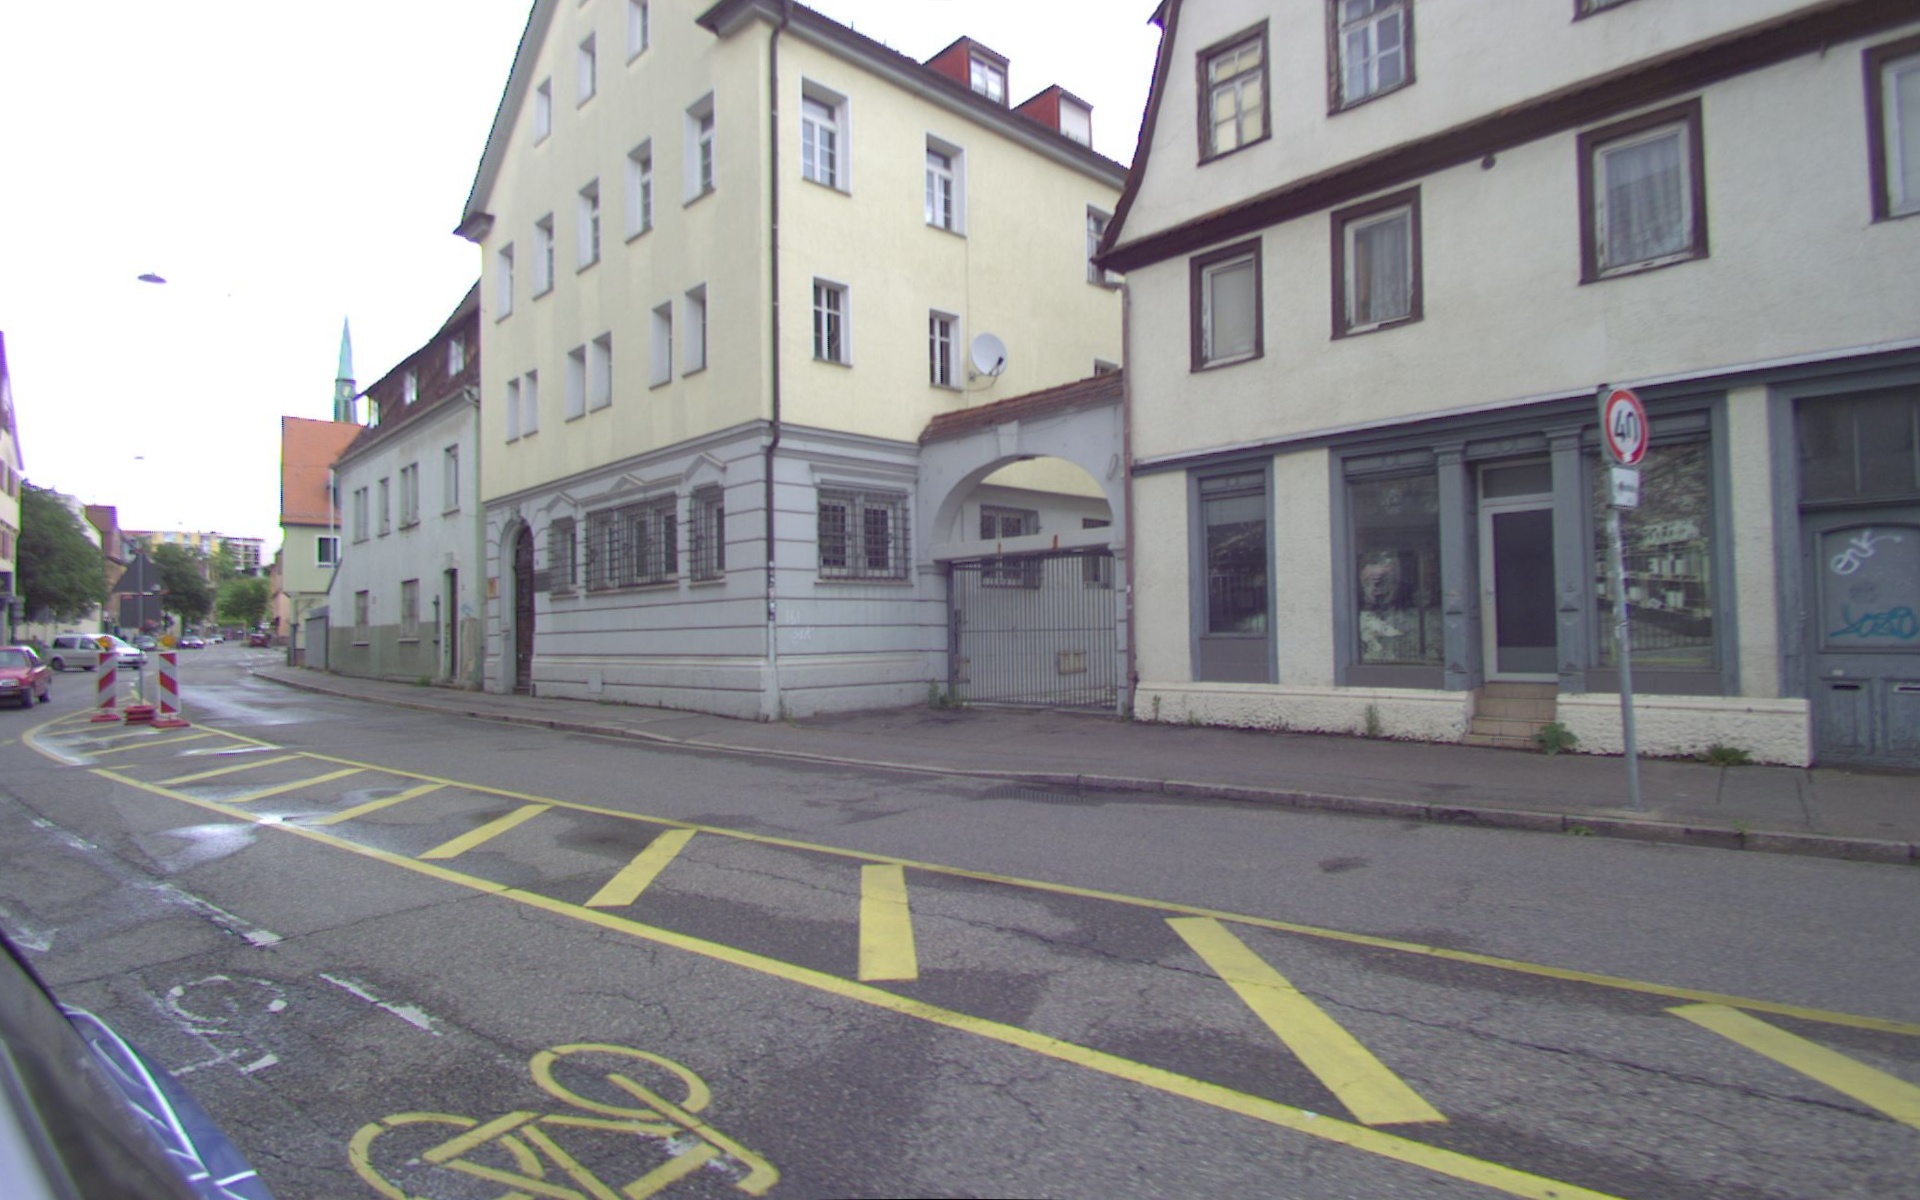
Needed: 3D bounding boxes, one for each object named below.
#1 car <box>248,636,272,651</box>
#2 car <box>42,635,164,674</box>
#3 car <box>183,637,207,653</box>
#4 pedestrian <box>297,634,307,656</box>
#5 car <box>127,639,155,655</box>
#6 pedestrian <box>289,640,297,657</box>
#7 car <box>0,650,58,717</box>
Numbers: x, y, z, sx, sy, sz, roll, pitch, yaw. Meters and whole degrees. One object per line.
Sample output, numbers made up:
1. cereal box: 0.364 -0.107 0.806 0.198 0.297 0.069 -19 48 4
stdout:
1. car: -84.946 5.265 122.713 2.178 1.691 4.508 2 -3 -37
2. car: -41.450 2.598 49.000 4.412 1.801 1.996 0 -2 6
3. car: -84.745 4.956 112.138 1.967 1.691 4.009 0 -1 -36
4. pedestrian: -65.186 4.464 100.265 0.746 2.138 0.785 1 -4 -36
5. car: -83.548 4.808 103.311 2.001 1.567 4.009 2 -3 -37
6. pedestrian: -66.020 4.794 100.206 0.627 1.618 0.713 2 -3 -36
7. car: -22.167 1.912 23.392 1.659 1.438 4.029 1 -4 -38
